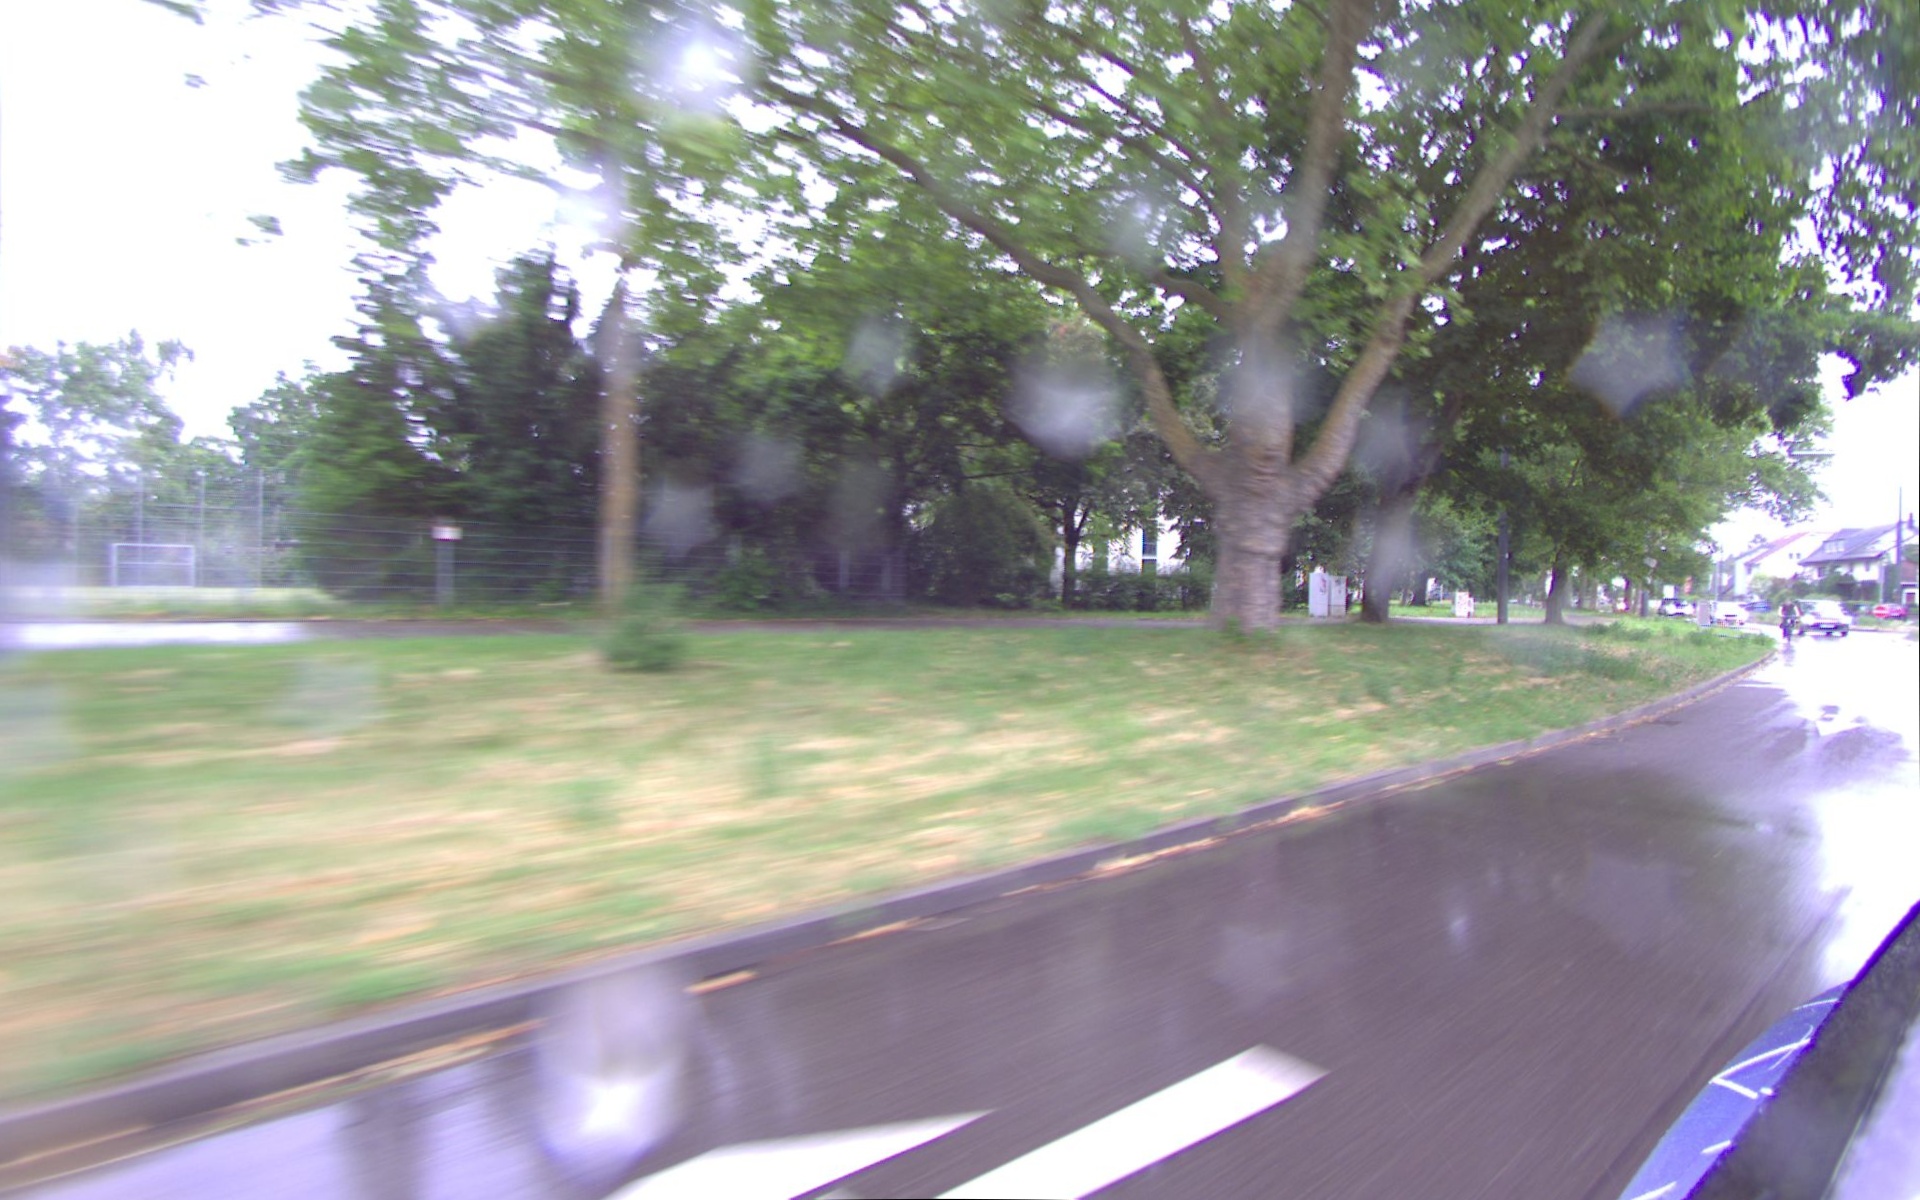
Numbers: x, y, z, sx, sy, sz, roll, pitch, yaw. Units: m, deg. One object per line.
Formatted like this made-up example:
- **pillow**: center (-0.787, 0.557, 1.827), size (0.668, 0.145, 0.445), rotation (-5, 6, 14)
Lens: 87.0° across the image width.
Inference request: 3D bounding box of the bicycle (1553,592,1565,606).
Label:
- **bicycle**: center (52.880, -0.112, 89.267), size (0.709, 1.156, 1.946), rotation (1, 2, 37)

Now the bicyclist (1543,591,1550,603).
- **bicyclist**: center (52.021, -0.271, 89.790), size (0.485, 1.051, 0.584), rotation (2, 1, 36)

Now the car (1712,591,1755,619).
- **car**: center (48.903, 0.283, 64.067), size (1.755, 1.746, 3.890), rotation (0, 1, 32)

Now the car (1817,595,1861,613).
- **car**: center (81.576, 0.324, 94.010), size (1.981, 1.634, 4.640), rotation (0, 0, 27)

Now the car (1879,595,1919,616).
- **car**: center (76.229, 0.420, 81.768), size (1.829, 1.567, 3.935), rotation (-2, 0, 27)

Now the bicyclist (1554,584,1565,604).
- **bicyclist**: center (52.881, -0.530, 89.258), size (0.709, 1.742, 0.945), rotation (1, 2, 37)

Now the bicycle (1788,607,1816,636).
- **bicycle**: center (32.912, 0.820, 39.570), size (0.656, 1.026, 2.228), rotation (2, 2, 36)

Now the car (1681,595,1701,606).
- **car**: center (106.753, 0.104, 147.838), size (1.742, 1.535, 3.820), rotation (-2, 0, 26)

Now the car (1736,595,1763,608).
- **car**: center (94.860, 0.175, 121.587), size (1.701, 1.548, 3.570), rotation (-2, 0, 25)

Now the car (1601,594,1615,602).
- **car**: center (130.258, -0.422, 203.476), size (1.742, 1.535, 3.820), rotation (-2, 0, 26)

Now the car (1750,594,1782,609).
- **car**: center (91.773, 0.153, 115.294), size (1.830, 1.727, 4.147), rotation (0, 0, 24)

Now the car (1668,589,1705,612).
- **car**: center (58.888, 0.031, 82.069), size (1.752, 1.746, 3.898), rotation (2, 2, 27)

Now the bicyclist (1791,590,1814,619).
- **bicyclist**: center (32.953, 0.155, 39.601), size (0.618, 1.098, 0.616), rotation (2, 1, 37)

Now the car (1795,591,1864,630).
- **car**: center (40.810, 0.499, 47.562), size (1.754, 1.747, 3.891), rotation (-1, -1, 31)
